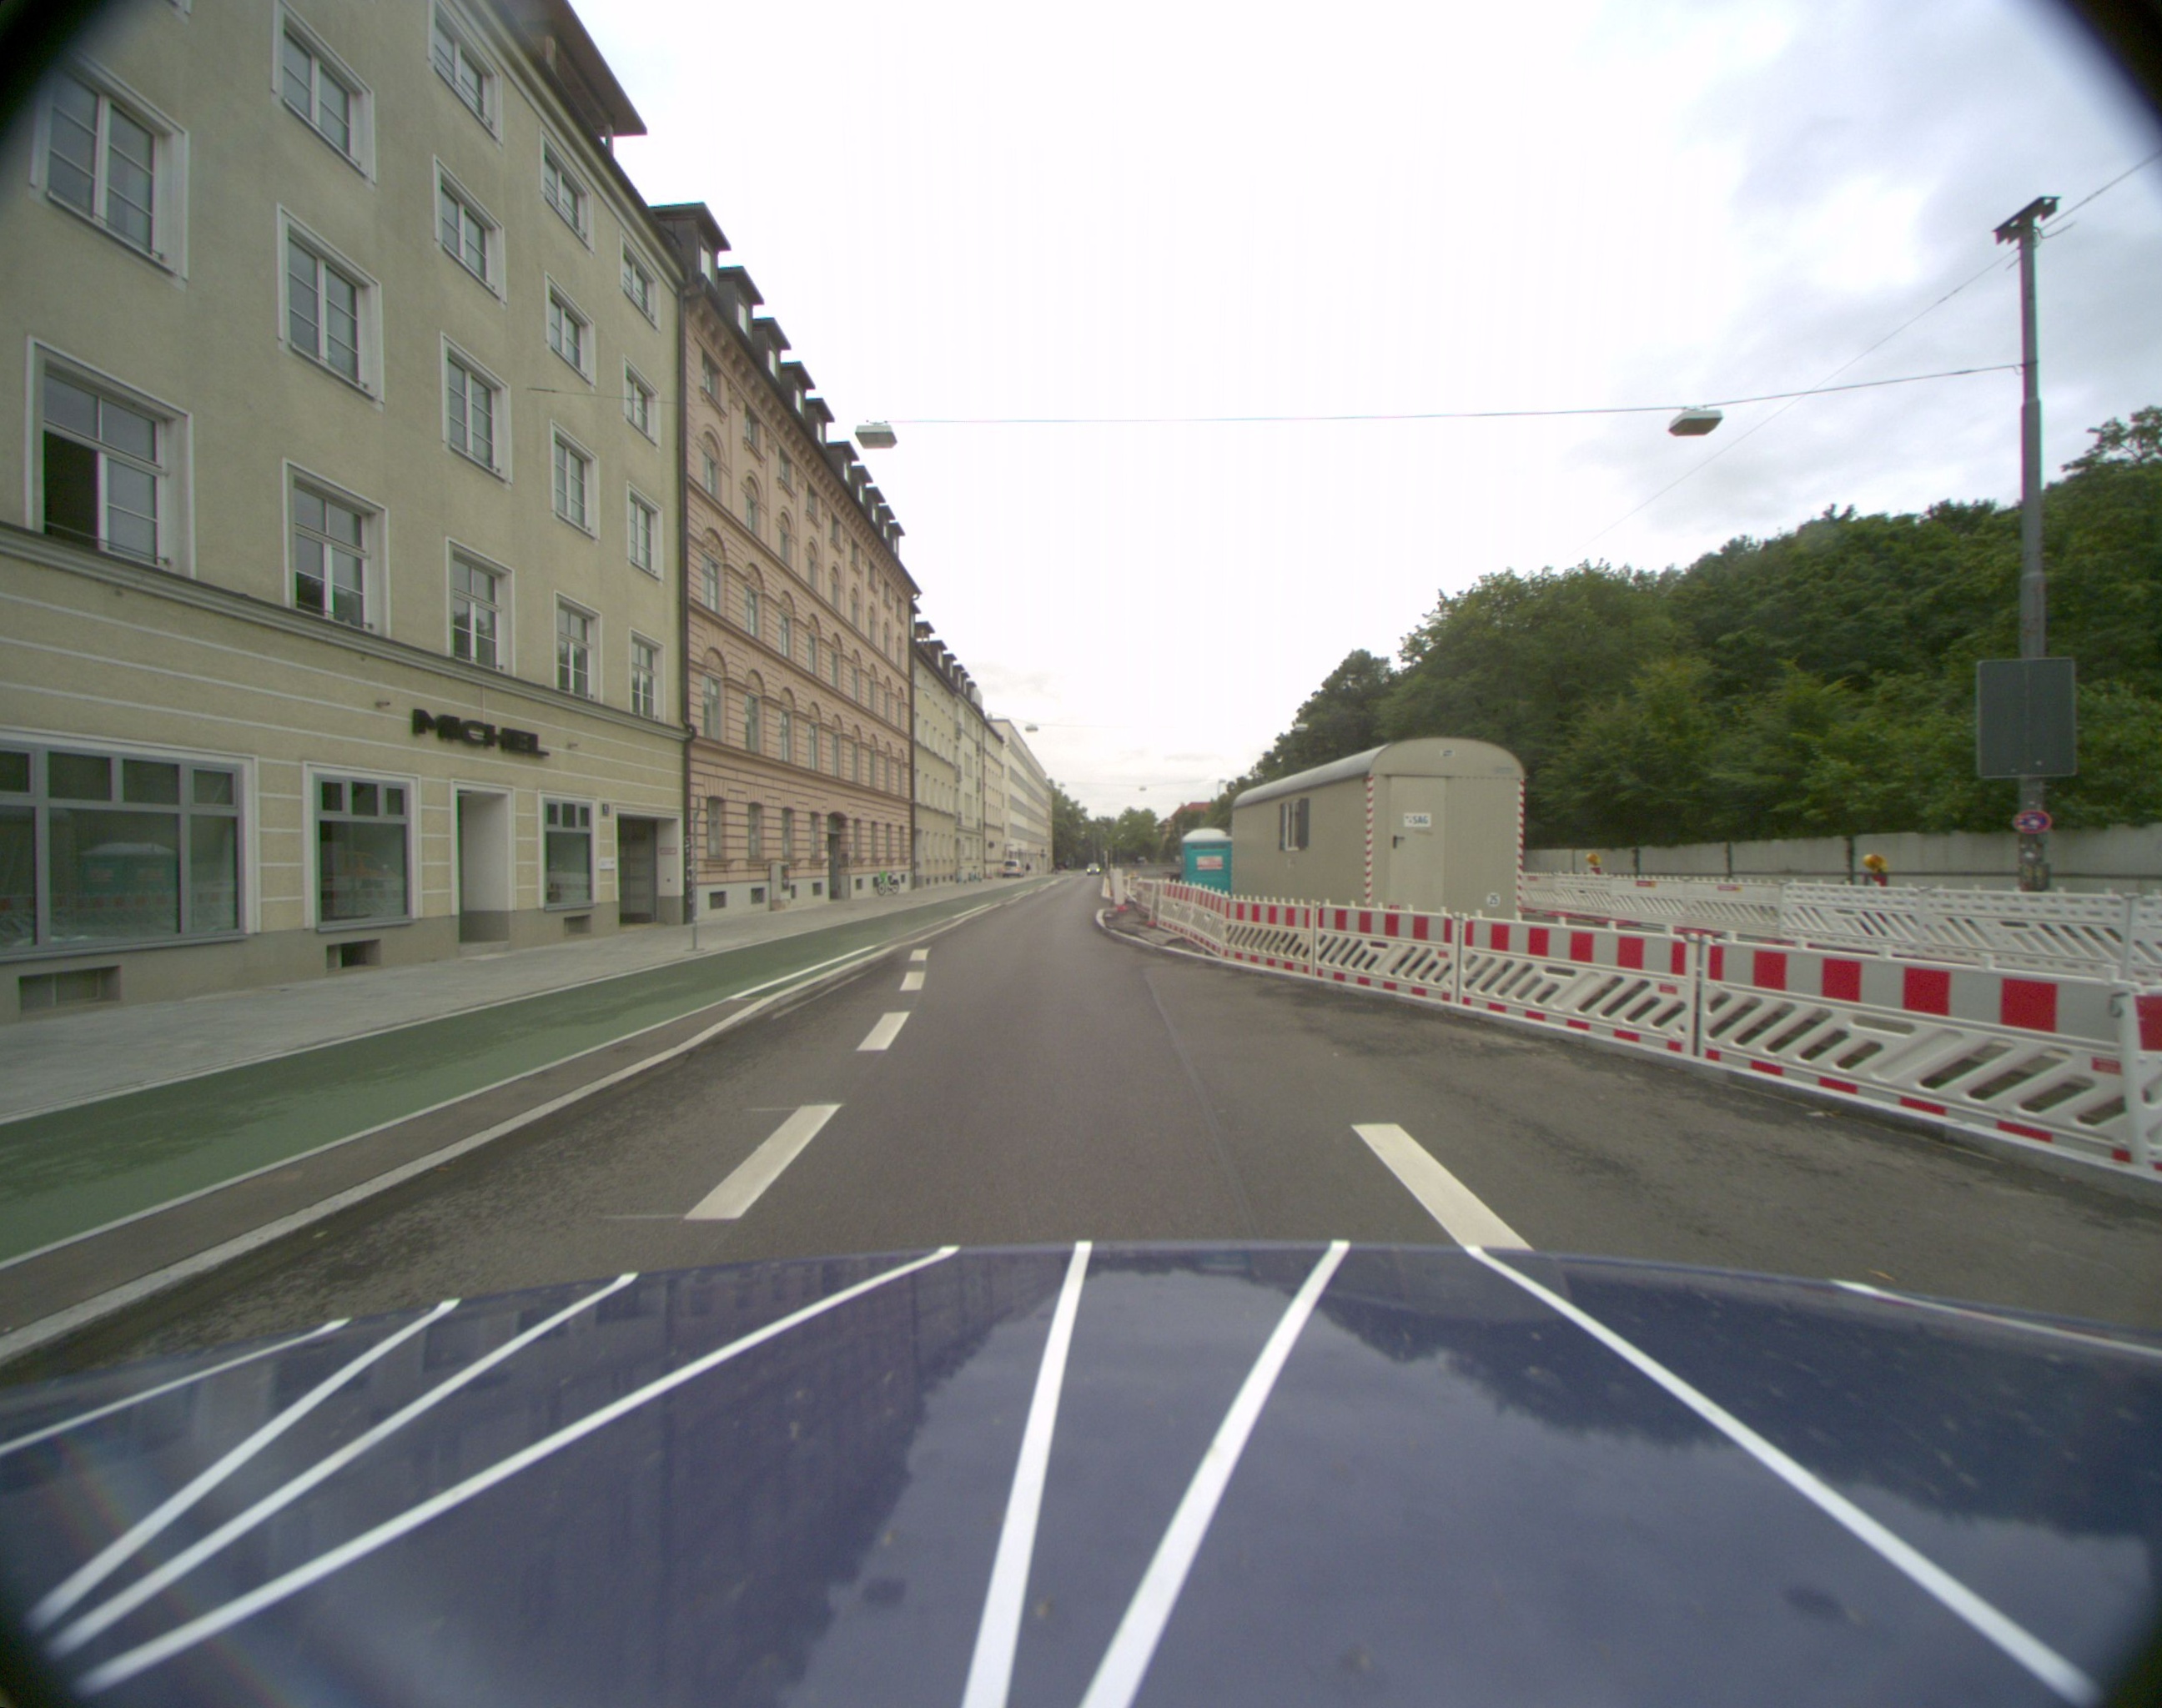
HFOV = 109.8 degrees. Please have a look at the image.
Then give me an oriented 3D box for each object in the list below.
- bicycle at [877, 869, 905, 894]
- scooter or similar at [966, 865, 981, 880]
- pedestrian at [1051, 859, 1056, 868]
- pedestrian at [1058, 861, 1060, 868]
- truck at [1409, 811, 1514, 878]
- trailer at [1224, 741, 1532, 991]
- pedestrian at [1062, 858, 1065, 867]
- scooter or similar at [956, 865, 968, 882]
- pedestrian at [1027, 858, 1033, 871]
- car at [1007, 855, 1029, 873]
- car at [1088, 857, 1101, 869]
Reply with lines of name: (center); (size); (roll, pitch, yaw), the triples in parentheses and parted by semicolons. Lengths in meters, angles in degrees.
bicycle: (-9.073, 1.306, 36.365); (0.426, 1.167, 1.734); (0, 0, 19)
scooter or similar: (-8.434, 1.444, 59.475); (1.121, 1.224, 0.246); (1, 1, -31)
pedestrian: (-5.177, 1.793, 143.700); (0.753, 1.610, 0.704); (0, 0, 2)
pedestrian: (-4.071, 1.941, 141.897); (0.367, 1.239, 0.470); (0, 0, 2)
truck: (16.930, -0.368, 34.208); (1.998, 2.712, 5.871); (-1, 0, 3)
trailer: (4.557, 0.168, 13.584); (2.233, 3.224, 7.517); (-1, 0, -3)
pedestrian: (-3.197, 1.606, 142.316); (0.514, 1.825, 0.602); (0, 0, 2)
scooter or similar: (-8.576, 1.384, 54.736); (0.246, 1.224, 1.122); (2, 1, 28)
pedestrian: (-6.405, 1.313, 95.360); (0.666, 1.626, 0.737); (0, 0, 2)
car: (-6.367, 1.004, 77.505); (1.737, 1.739, 4.436); (0, 0, 2)
car: (2.013, 1.373, 117.470); (1.998, 1.738, 4.000); (0, 0, 0)
